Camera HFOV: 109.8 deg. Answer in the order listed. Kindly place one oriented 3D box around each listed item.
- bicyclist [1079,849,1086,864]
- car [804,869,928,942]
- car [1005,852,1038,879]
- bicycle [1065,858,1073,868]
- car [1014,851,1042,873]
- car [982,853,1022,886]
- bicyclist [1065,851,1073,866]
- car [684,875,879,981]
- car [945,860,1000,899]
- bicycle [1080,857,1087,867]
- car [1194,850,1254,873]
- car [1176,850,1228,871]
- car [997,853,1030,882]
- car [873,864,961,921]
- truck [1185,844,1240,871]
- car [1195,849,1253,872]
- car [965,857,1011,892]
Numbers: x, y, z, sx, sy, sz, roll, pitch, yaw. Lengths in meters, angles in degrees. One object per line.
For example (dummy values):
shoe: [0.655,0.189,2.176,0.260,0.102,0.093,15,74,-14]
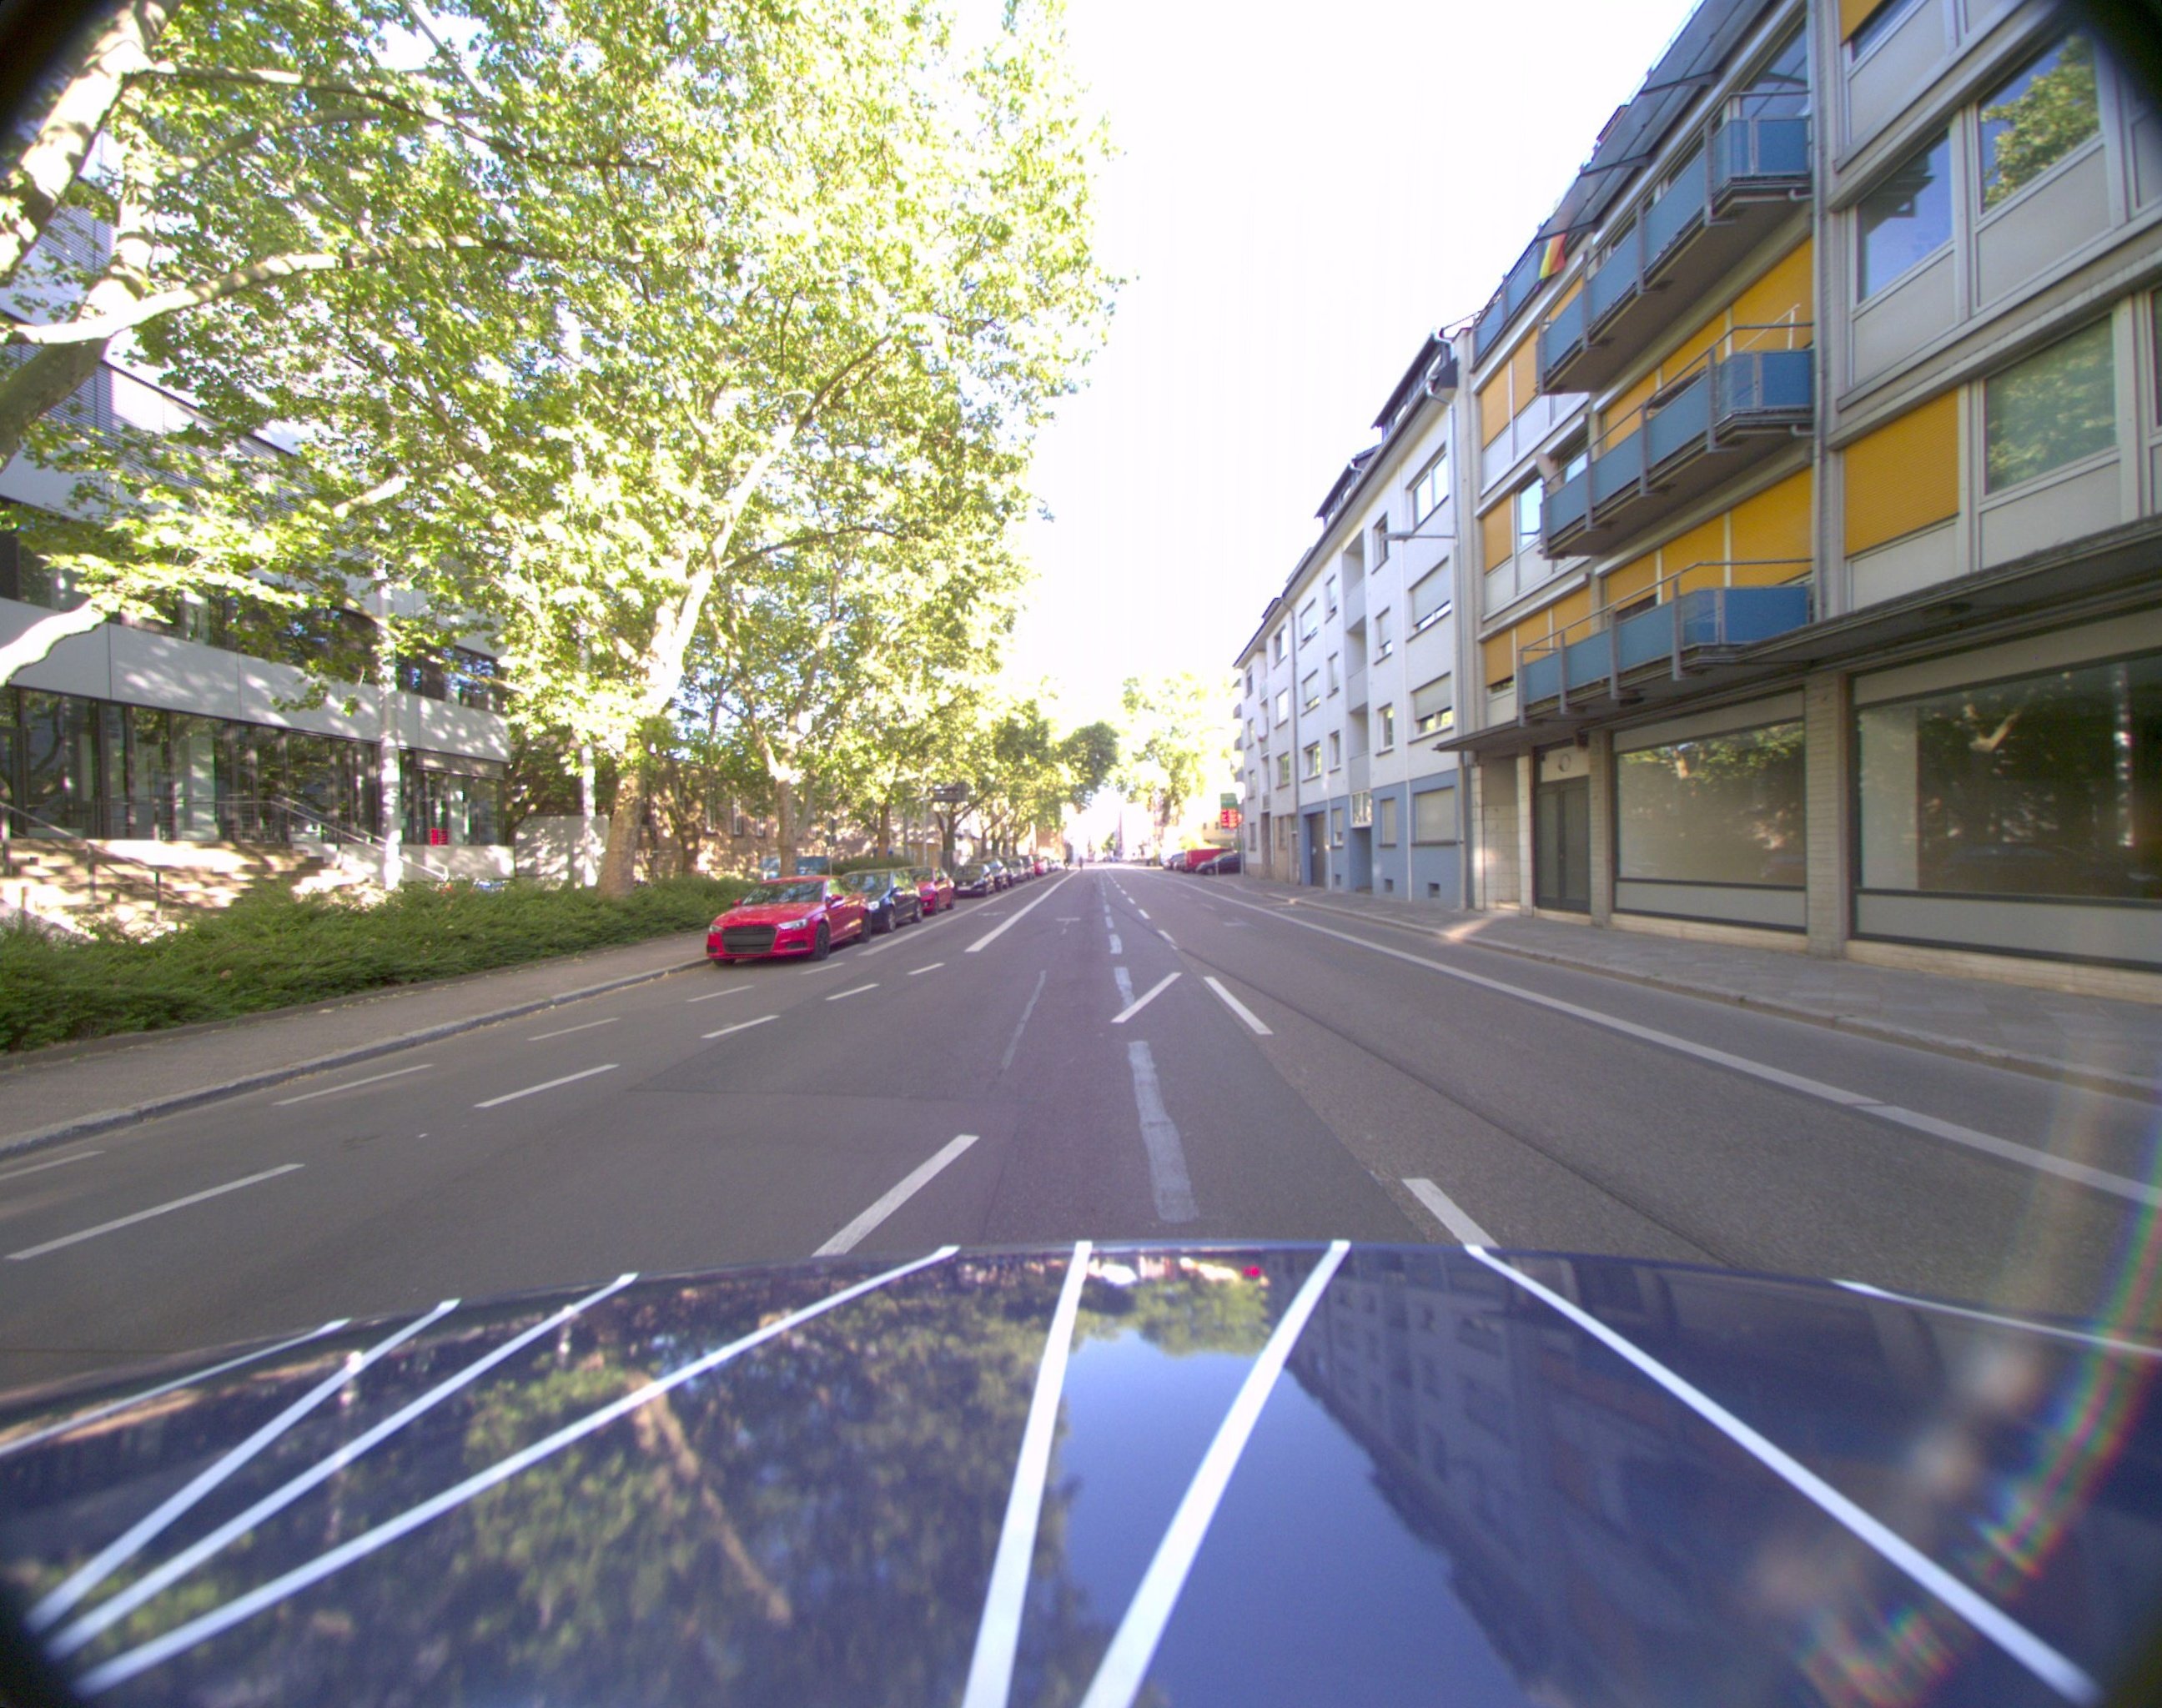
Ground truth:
bicyclist: [0.207,0.256,82.825,0.718,1.573,0.936,-2,1,1]
car: [-5.084,1.168,18.577,1.818,1.405,4.163,-3,0,0]
car: [-4.321,0.794,55.663,2.042,1.745,4.552,-3,0,0]
bicycle: [-1.281,0.989,82.163,0.717,1.052,2.485,-2,1,1]
car: [-4.595,0.697,66.093,2.042,1.745,4.552,-3,0,0]
car: [-4.527,0.866,44.149,1.790,1.745,4.345,-3,0,0]
bicyclist: [-1.309,0.439,82.049,0.718,1.573,0.936,-2,1,1]
car: [-5.140,1.190,13.721,1.818,1.405,4.163,-3,0,0]
car: [-4.705,1.075,33.387,1.790,1.451,4.163,-3,0,0]
bicycle: [0.236,0.882,82.890,0.717,1.052,2.485,-2,1,1]
car: [10.250,0.541,54.796,3.996,1.449,1.761,-2,1,2]
car: [9.974,0.521,62.846,3.996,1.494,1.761,-2,1,2]
car: [-4.449,0.850,50.704,1.790,1.745,4.552,-3,0,0]
car: [-5.032,1.122,23.860,1.818,1.475,4.163,-3,0,0]
truck: [10.364,0.241,59.993,3.996,1.925,1.761,-2,1,2]
car: [10.724,0.474,57.143,3.996,1.494,1.761,-2,1,2]
car: [-4.604,0.975,38.132,1.790,1.544,4.163,-3,0,0]
